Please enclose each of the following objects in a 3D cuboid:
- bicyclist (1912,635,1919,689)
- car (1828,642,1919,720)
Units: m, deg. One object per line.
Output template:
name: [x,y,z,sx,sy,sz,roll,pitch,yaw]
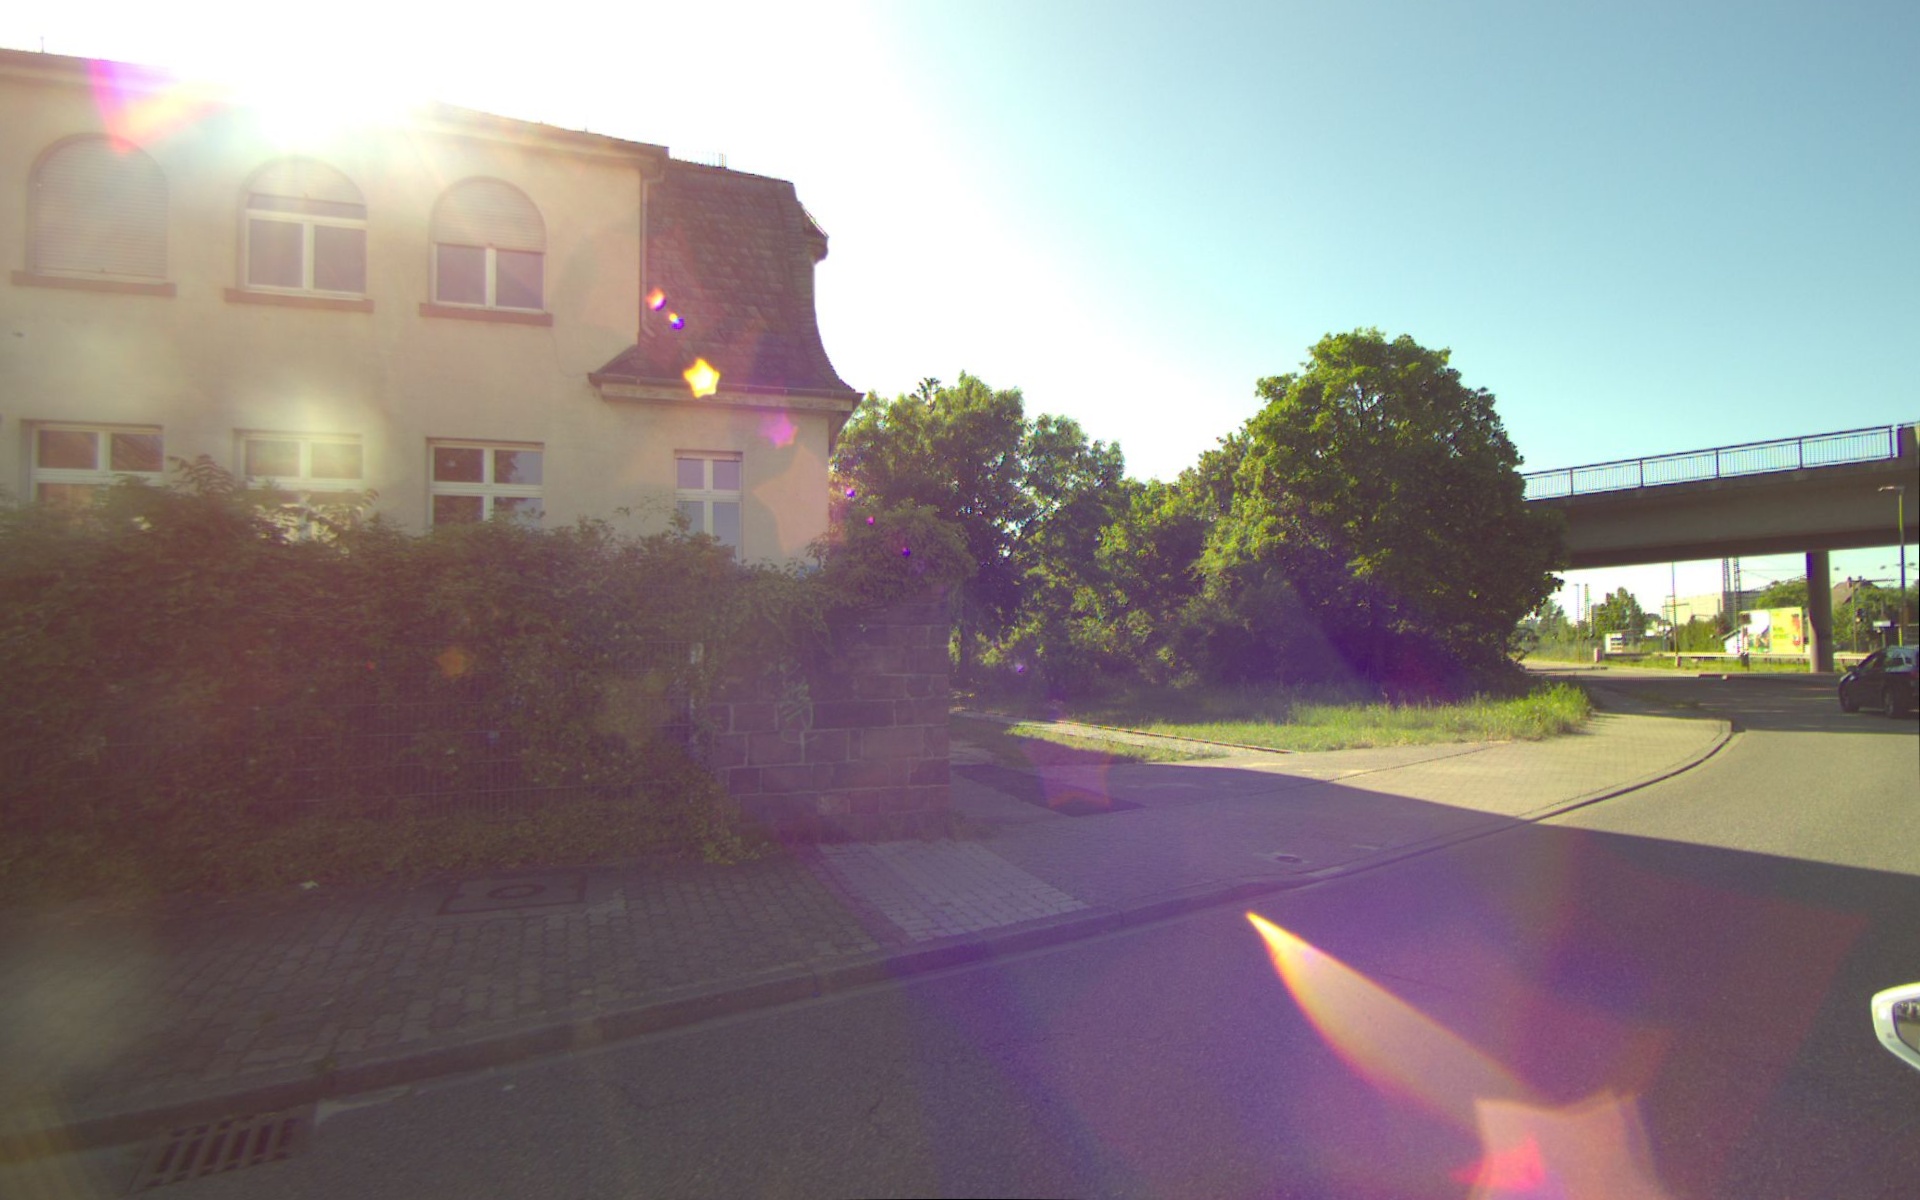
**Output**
bicyclist: [27.272,1.729,27.911,0.827,1.508,0.924,-2,-3,20]
car: [20.275,1.655,21.241,1.914,1.508,4.559,-2,-4,29]
